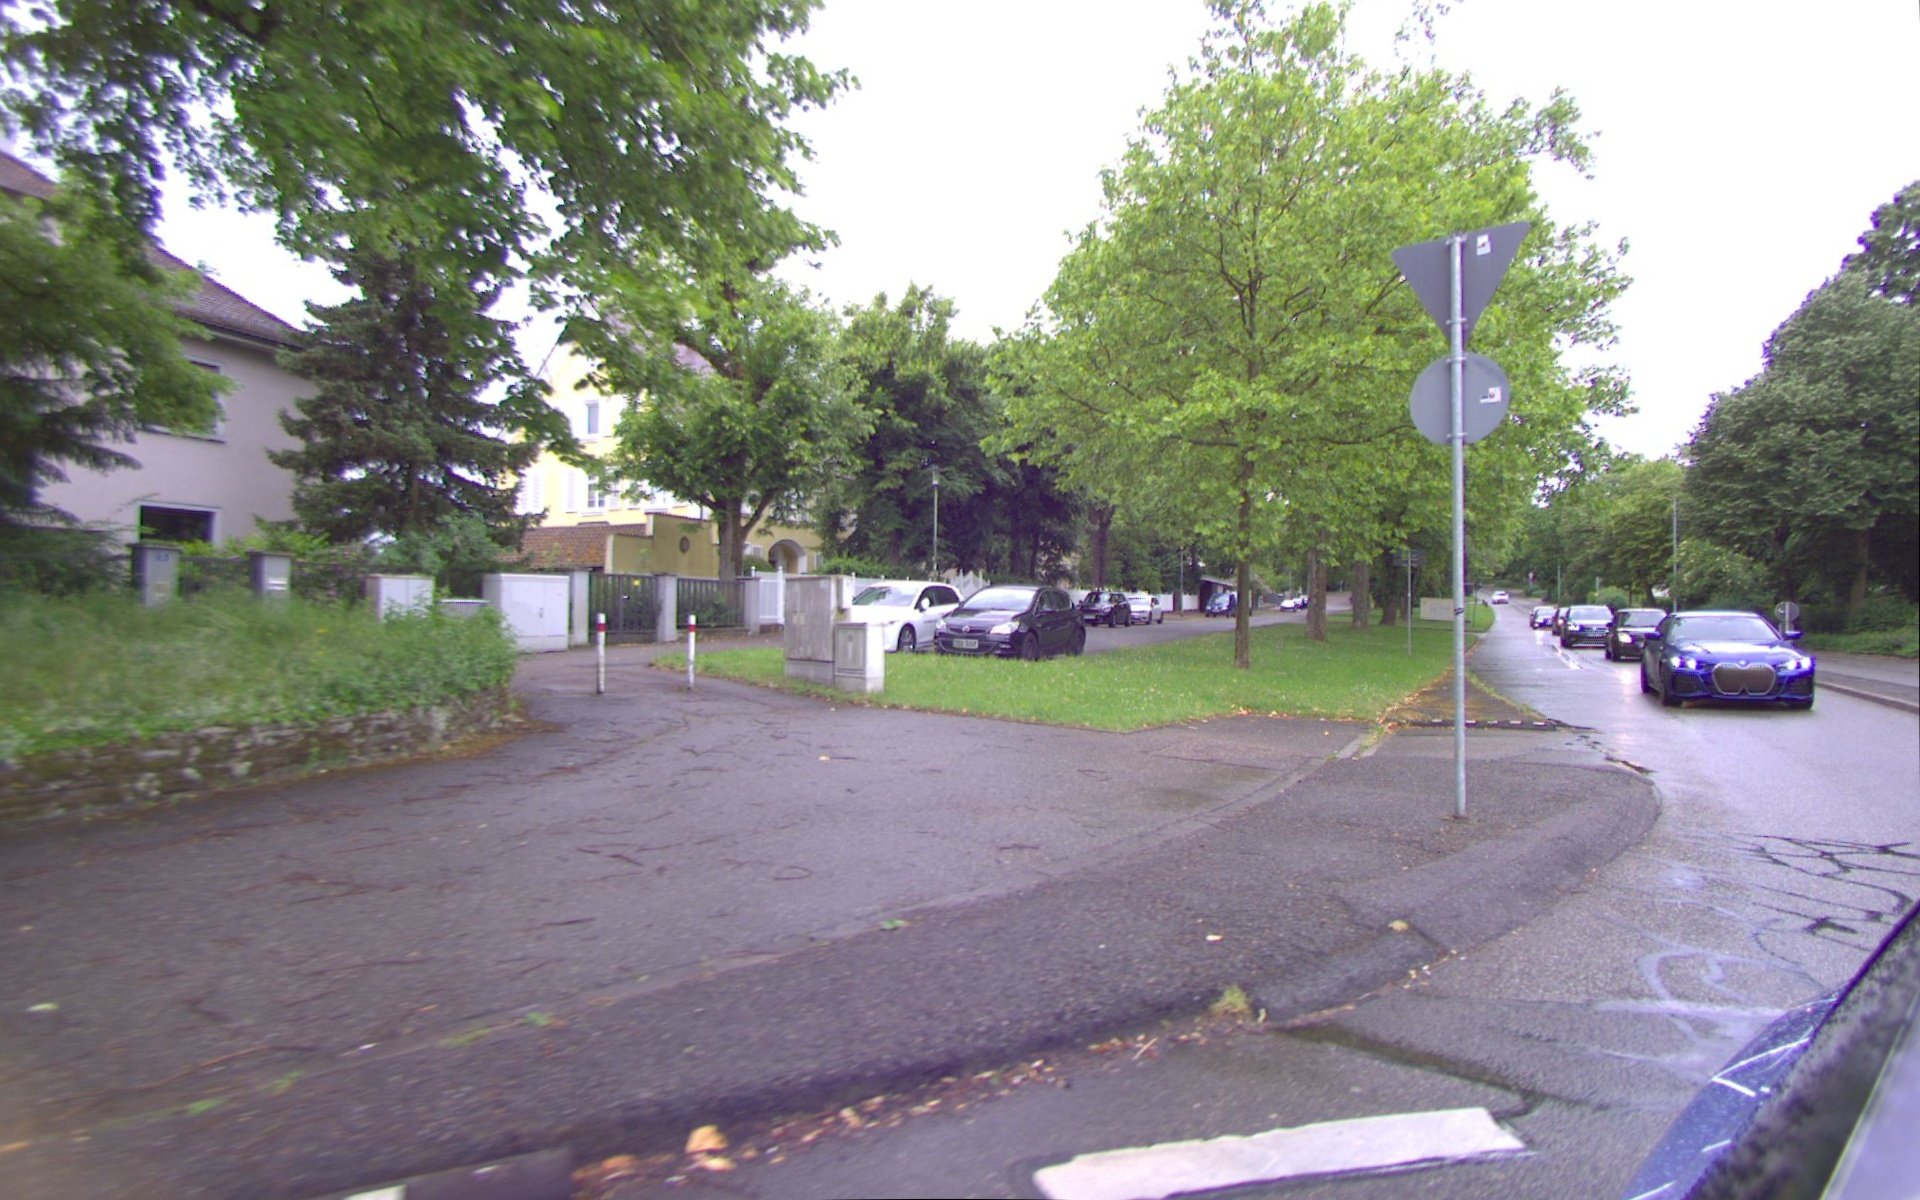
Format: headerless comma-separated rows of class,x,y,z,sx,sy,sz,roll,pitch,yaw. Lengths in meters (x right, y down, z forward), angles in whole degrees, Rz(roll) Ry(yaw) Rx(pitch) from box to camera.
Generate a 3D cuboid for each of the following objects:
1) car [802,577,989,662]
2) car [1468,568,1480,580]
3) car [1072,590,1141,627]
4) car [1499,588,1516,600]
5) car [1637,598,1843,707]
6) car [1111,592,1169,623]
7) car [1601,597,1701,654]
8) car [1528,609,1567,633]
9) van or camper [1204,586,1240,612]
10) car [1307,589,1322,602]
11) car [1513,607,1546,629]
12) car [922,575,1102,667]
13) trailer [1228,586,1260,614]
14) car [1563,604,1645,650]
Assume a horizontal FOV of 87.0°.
car,-1.133,0.320,20.173,1.832,1.489,4.387,1,1,25
car,104.941,-5.300,206.500,1.983,2.039,4.526,3,0,29
car,6.538,0.351,44.770,1.978,1.490,4.092,-2,-1,23
car,74.939,-0.813,138.471,1.813,1.498,4.021,-2,0,32
car,12.315,0.752,16.279,1.809,1.498,4.030,-2,-1,26
car,9.216,0.378,51.560,1.978,1.467,4.092,-2,-1,23
car,20.039,0.701,29.509,1.809,1.498,4.030,-2,-1,26
car,39.701,1.377,68.357,1.816,1.498,4.014,-2,0,37
van or camper,19.347,-0.078,74.631,1.976,1.831,4.740,-2,-1,22
car,58.350,-0.796,166.502,1.979,2.039,3.966,1,0,25
car,42.430,1.340,75.375,1.814,1.498,4.017,-2,0,34
car,1.130,0.324,19.236,1.753,1.489,4.556,2,1,26
trailer,23.585,-0.014,83.968,1.753,2.143,5.150,-2,-1,24
car,23.098,0.935,36.460,2.013,1.498,4.030,-2,0,26
